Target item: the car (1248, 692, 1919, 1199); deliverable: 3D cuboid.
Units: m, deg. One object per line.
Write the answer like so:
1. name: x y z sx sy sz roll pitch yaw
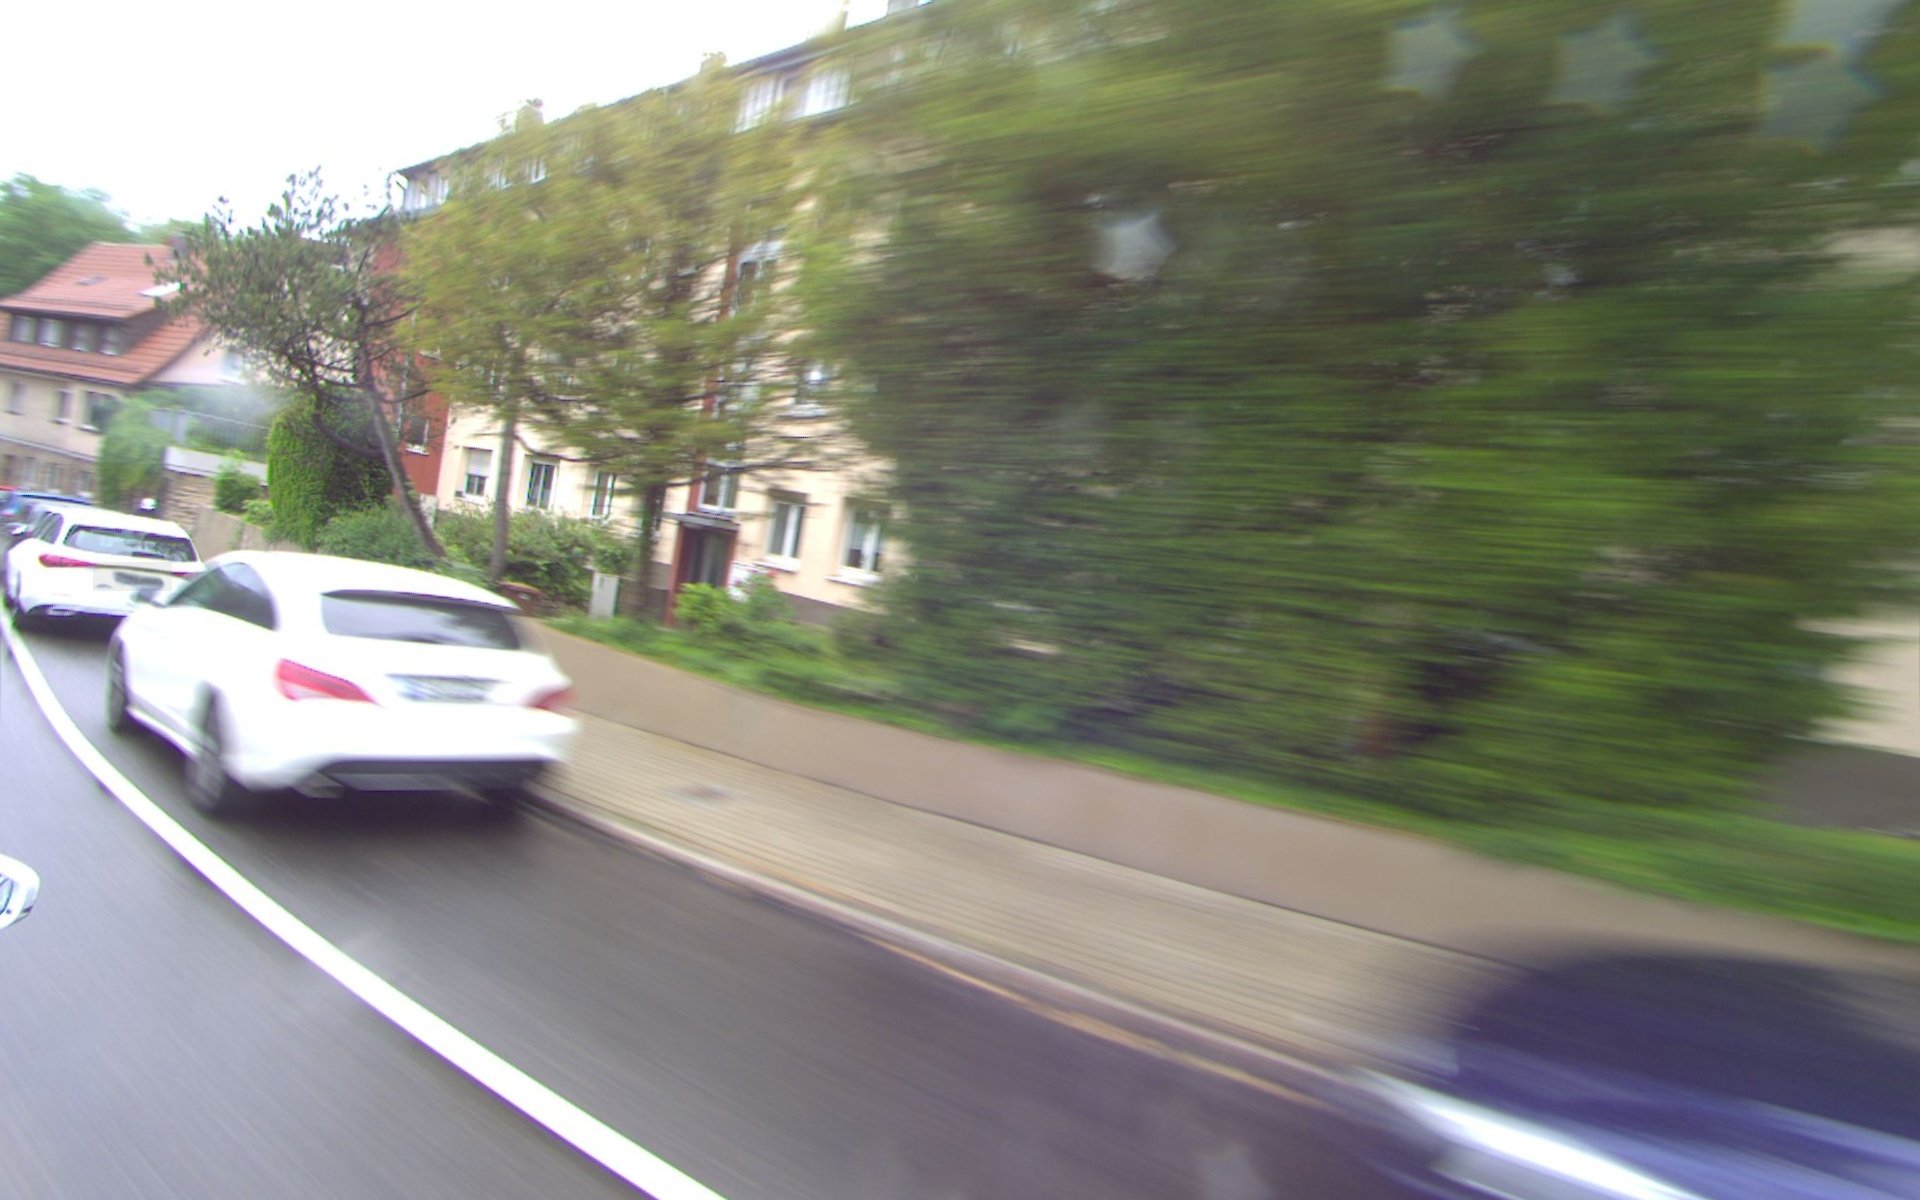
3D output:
1. car: 2.958 1.208 1.591 4.540 1.366 1.809 7 2 28

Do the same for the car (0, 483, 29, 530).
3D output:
1. car: -35.244 -3.471 36.409 3.524 1.455 1.613 9 4 35

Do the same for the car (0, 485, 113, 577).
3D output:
1. car: -20.147 -1.578 22.134 4.196 1.613 1.730 8 0 43

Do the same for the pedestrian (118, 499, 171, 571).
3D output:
1. pedestrian: -20.490 -1.626 25.281 0.603 1.670 0.622 7 0 15

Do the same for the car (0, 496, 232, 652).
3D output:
1. car: -10.949 -0.392 12.880 4.196 1.473 1.804 7 0 43

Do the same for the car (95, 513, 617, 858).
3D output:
1. car: -4.357 0.324 6.875 4.505 1.454 1.775 7 2 42

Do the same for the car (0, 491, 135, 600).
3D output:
1. car: -15.603 -0.995 17.393 1.684 1.473 4.201 7 0 -43
